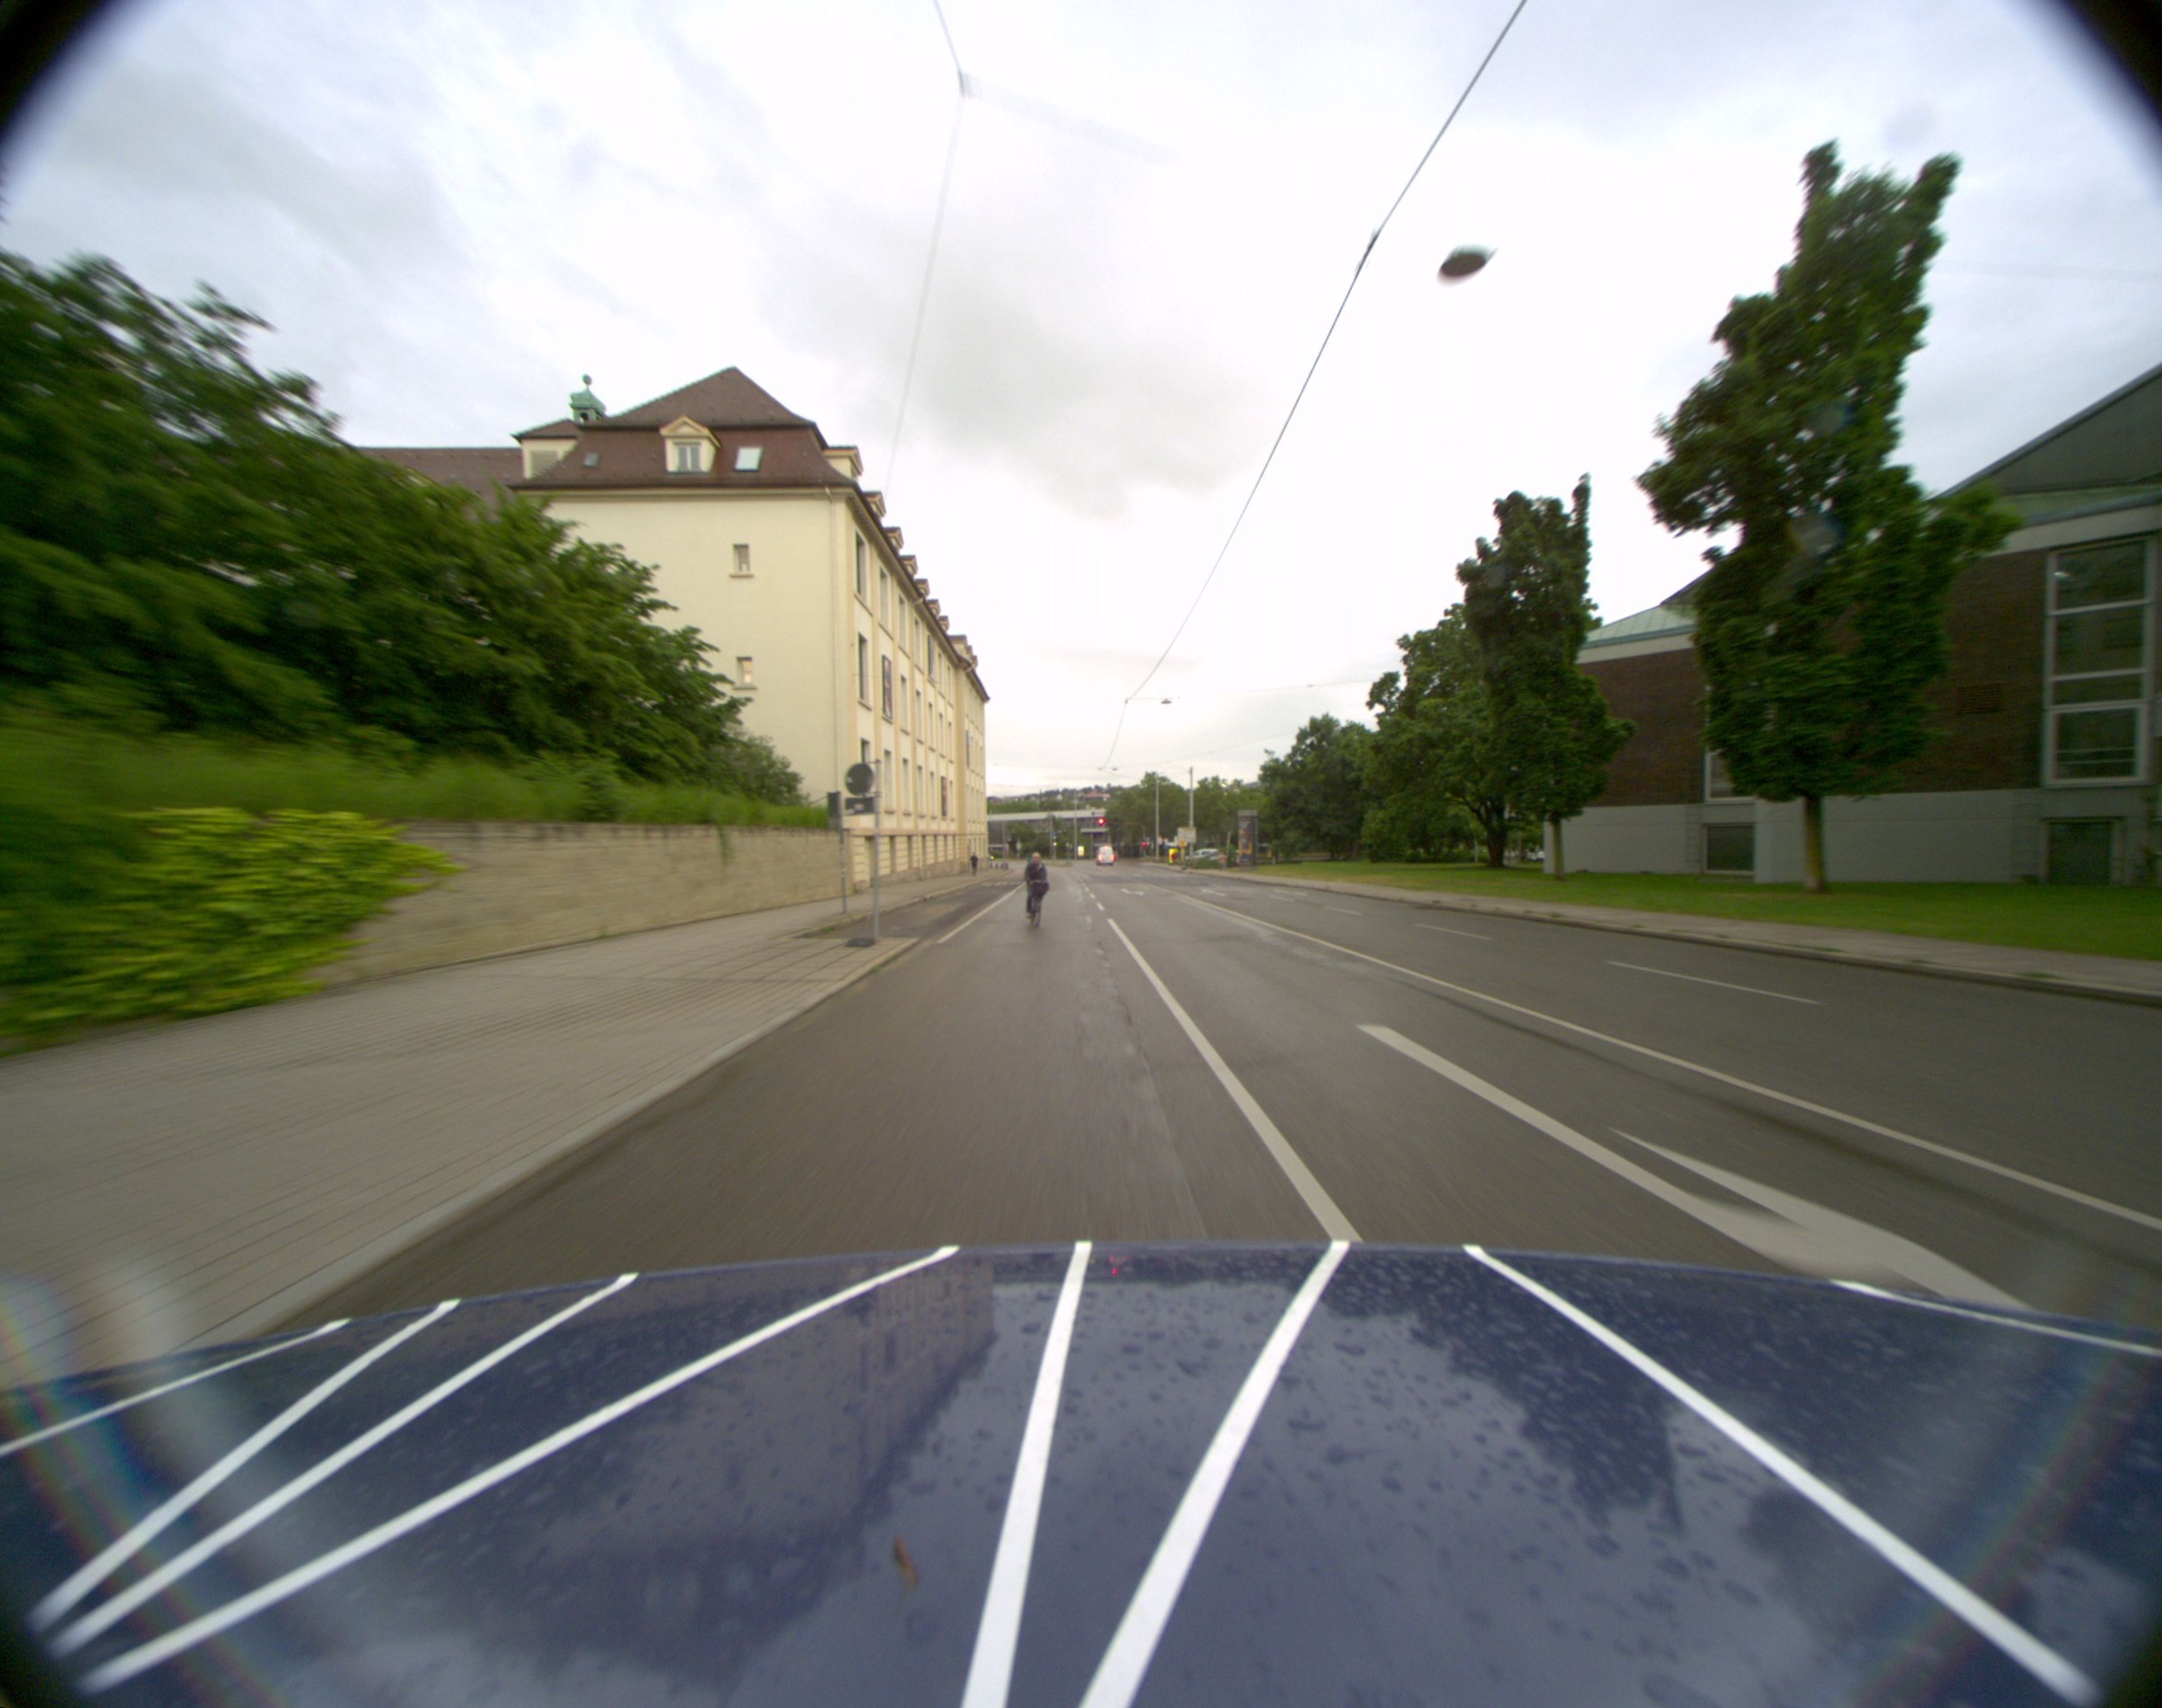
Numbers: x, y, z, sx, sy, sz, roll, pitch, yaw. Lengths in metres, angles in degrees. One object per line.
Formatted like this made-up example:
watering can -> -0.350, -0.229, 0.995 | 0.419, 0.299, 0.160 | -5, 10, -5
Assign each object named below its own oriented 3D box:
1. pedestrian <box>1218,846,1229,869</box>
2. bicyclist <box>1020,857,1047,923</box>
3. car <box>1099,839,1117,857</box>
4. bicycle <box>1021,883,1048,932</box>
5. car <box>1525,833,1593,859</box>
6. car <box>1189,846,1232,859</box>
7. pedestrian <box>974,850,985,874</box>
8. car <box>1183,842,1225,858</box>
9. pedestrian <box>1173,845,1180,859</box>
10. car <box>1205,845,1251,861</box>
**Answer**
pedestrian -> 10.713, 0.275, 57.127 | 0.671, 1.677, 0.913 | -2, 2, 6
bicyclist -> -1.069, 0.791, 17.239 | 0.485, 1.425, 0.930 | -2, 2, 1
car -> 3.797, -0.853, 107.246 | 1.988, 2.514, 5.629 | 0, 1, -3
bicycle -> -1.030, 1.179, 17.154 | 0.448, 0.957, 1.690 | -2, 0, 1
car -> 56.426, -0.986, 89.781 | 6.207, 2.746, 2.739 | -2, 2, 2
car -> 14.785, -0.142, 86.692 | 4.369, 1.341, 1.907 | -2, 2, 28
pedestrian -> -7.547, 0.563, 56.704 | 0.672, 1.787, 0.851 | 0, 1, 0
car -> 15.205, -0.467, 94.210 | 4.710, 1.745, 2.020 | -1, 2, 40
pedestrian -> 11.520, -0.269, 91.664 | 0.629, 1.686, 0.642 | -3, 2, -9
car -> 14.900, -0.090, 77.368 | 1.872, 1.600, 4.514 | -3, 2, -35
